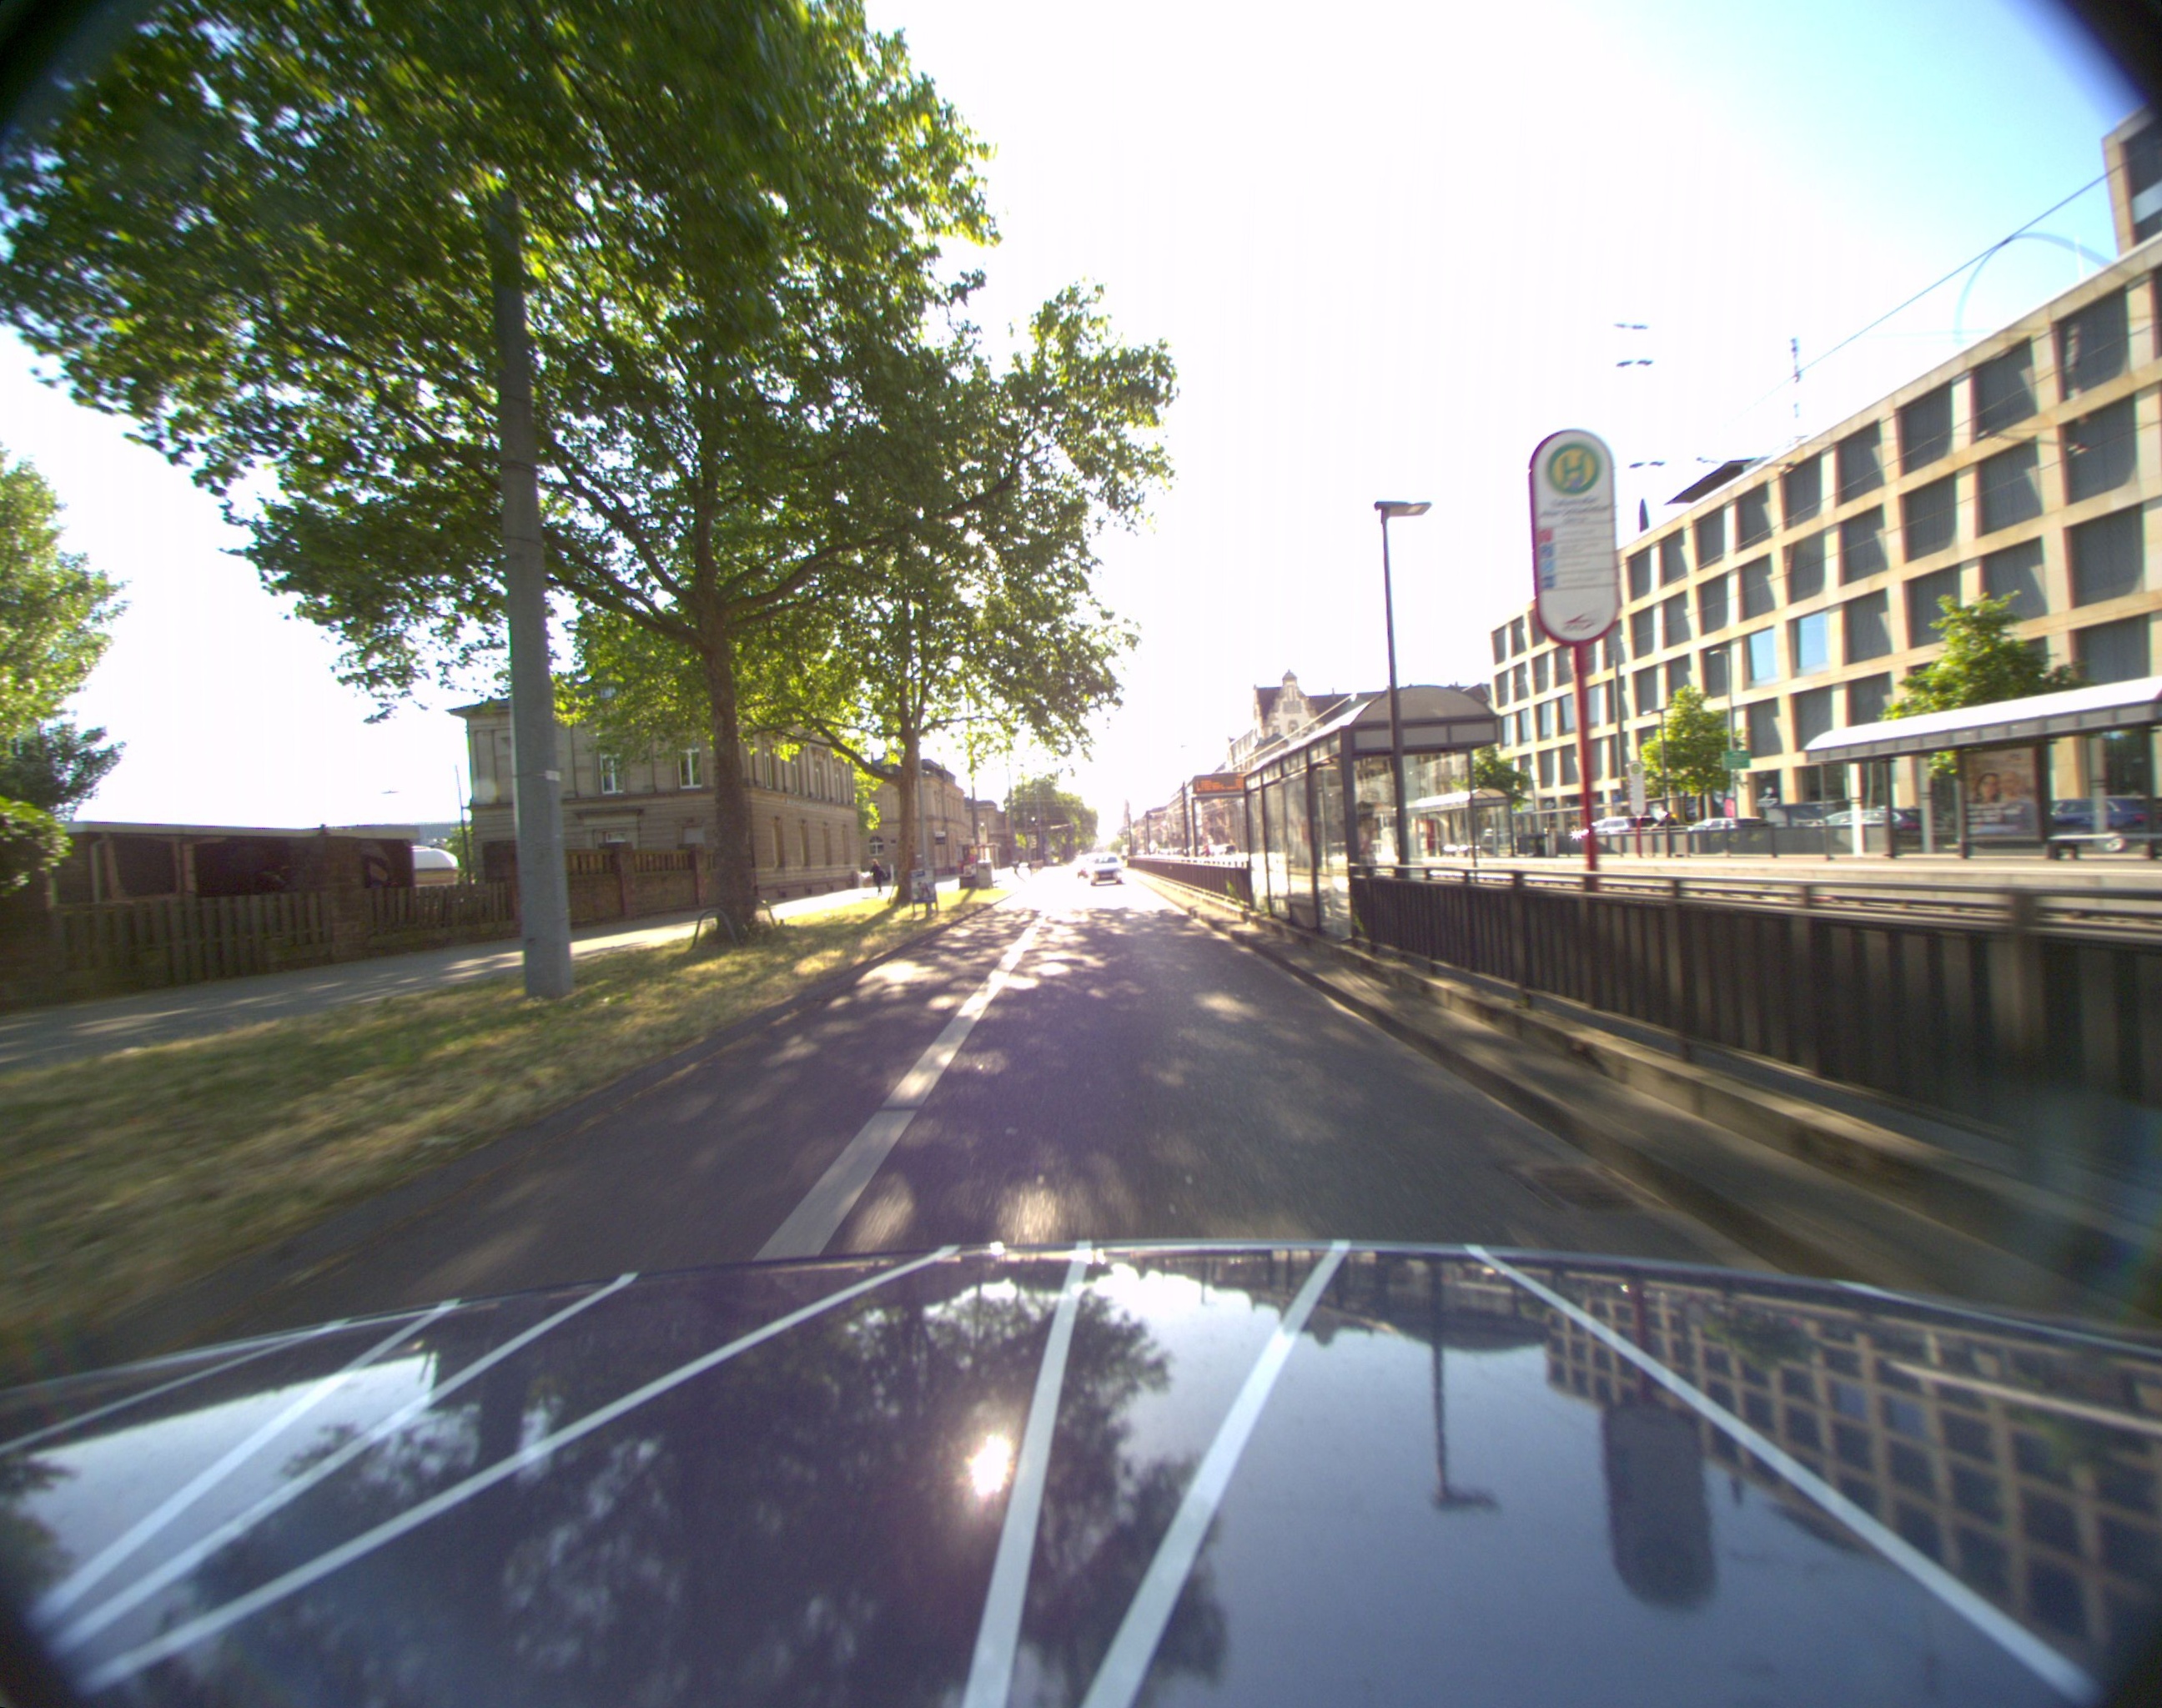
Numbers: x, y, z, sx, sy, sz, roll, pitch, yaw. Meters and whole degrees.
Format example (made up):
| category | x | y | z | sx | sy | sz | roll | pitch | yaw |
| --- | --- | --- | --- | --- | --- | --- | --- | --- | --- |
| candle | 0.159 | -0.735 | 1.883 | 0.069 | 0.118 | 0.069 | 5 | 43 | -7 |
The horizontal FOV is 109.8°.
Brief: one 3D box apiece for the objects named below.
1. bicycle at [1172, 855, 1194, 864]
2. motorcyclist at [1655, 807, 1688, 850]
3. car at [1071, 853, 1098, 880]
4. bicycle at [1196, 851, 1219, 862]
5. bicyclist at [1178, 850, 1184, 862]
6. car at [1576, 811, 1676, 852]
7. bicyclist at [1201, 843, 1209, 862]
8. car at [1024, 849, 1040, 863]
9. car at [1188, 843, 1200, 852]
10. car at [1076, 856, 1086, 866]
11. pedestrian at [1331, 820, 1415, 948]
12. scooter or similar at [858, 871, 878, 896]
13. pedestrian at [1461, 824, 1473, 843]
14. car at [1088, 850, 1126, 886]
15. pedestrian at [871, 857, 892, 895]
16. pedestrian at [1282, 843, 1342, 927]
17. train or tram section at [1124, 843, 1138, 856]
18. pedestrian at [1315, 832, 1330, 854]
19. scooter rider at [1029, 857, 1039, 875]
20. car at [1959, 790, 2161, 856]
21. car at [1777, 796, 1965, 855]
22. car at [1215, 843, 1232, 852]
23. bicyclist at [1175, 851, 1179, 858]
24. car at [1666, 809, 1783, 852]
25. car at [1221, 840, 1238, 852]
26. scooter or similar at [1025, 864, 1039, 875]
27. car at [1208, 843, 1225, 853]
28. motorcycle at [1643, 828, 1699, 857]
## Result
| category | x | y | z | sx | sy | sz | roll | pitch | yaw |
| --- | --- | --- | --- | --- | --- | --- | --- | --- | --- |
| bicycle | 8.612 | 0.469 | 64.102 | 1.724 | 0.605 | 0.512 | -4 | 1 | 10 |
| motorcyclist | 21.636 | -0.910 | 27.846 | 0.577 | 1.524 | 0.765 | -3 | 1 | 2 |
| car | 0.232 | 0.781 | 50.142 | 1.649 | 1.555 | 3.666 | -5 | 1 | 0 |
| bicycle | 10.755 | 0.218 | 64.593 | 1.888 | 0.873 | 0.608 | -4 | 1 | 9 |
| bicyclist | 8.453 | 0.157 | 64.142 | 0.462 | 0.987 | 0.511 | -3 | 1 | 10 |
| car | 26.073 | -1.027 | 36.536 | 1.923 | 1.759 | 4.000 | -4 | 0 | 1 |
| bicyclist | 10.546 | -0.107 | 64.623 | 0.629 | 1.609 | 0.684 | -3 | 1 | 9 |
| car | -7.905 | 0.368 | 122.294 | 1.833 | 2.034 | 4.000 | -4 | 1 | 4 |
| car | 22.849 | -1.343 | 154.208 | 1.741 | 1.516 | 4.000 | -5 | 0 | 0 |
| car | -0.004 | 1.346 | 143.498 | 1.833 | 1.645 | 3.999 | -4 | 1 | 1 |
| pedestrian | 3.607 | 0.355 | 9.442 | 0.747 | 1.500 | 0.666 | -3 | 1 | 3 |
| scooter or similar | -10.193 | 1.387 | 36.393 | 0.720 | 1.149 | 0.759 | -2 | 1 | -5 |
| pedestrian | 35.066 | -1.835 | 69.058 | 0.616 | 1.672 | 0.639 | -4 | 1 | -3 |
| car | 1.258 | 0.667 | 37.745 | 1.649 | 1.555 | 3.666 | -5 | 1 | 0 |
| pedestrian | -9.587 | 1.045 | 36.525 | 0.771 | 1.734 | 0.796 | -2 | 1 | -5 |
| pedestrian | 3.688 | 0.482 | 12.160 | 0.743 | 1.266 | 0.524 | -4 | 1 | 0 |
| train or tram section | 14.386 | -1.259 | 218.940 | 2.781 | 3.378 | 19.474 | -4 | 0 | 0 |
| pedestrian | 18.557 | -0.867 | 58.349 | 0.795 | 1.635 | 0.933 | -4 | 1 | 2 |
| scooter rider | -3.895 | 0.985 | 62.730 | 0.703 | 1.389 | 0.600 | -4 | 1 | 1 |
| car | 25.715 | -0.768 | 19.741 | 1.649 | 1.503 | 3.600 | -4 | 0 | 1 |
| car | 25.793 | -0.863 | 25.049 | 1.998 | 1.653 | 4.000 | -4 | 0 | 1 |
| car | 23.470 | -1.048 | 125.550 | 1.727 | 1.467 | 4.432 | -4 | 0 | -2 |
| bicyclist | 21.202 | 0.082 | 168.483 | 0.683 | 1.609 | 0.630 | -4 | 1 | -1 |
| car | 25.856 | -0.894 | 30.693 | 1.649 | 1.553 | 3.650 | -4 | 0 | 1 |
| car | 23.490 | -1.220 | 120.189 | 1.780 | 1.660 | 3.999 | -4 | 0 | -1 |
| scooter or similar | -4.044 | 1.283 | 62.649 | 1.023 | 0.807 | 0.265 | -4 | 1 | 1 |
| car | 23.354 | -1.060 | 130.951 | 1.741 | 1.516 | 3.998 | -5 | 0 | -4 |
| motorcycle | 21.677 | -0.417 | 27.962 | 0.606 | 1.015 | 1.841 | -4 | 0 | 2 |
